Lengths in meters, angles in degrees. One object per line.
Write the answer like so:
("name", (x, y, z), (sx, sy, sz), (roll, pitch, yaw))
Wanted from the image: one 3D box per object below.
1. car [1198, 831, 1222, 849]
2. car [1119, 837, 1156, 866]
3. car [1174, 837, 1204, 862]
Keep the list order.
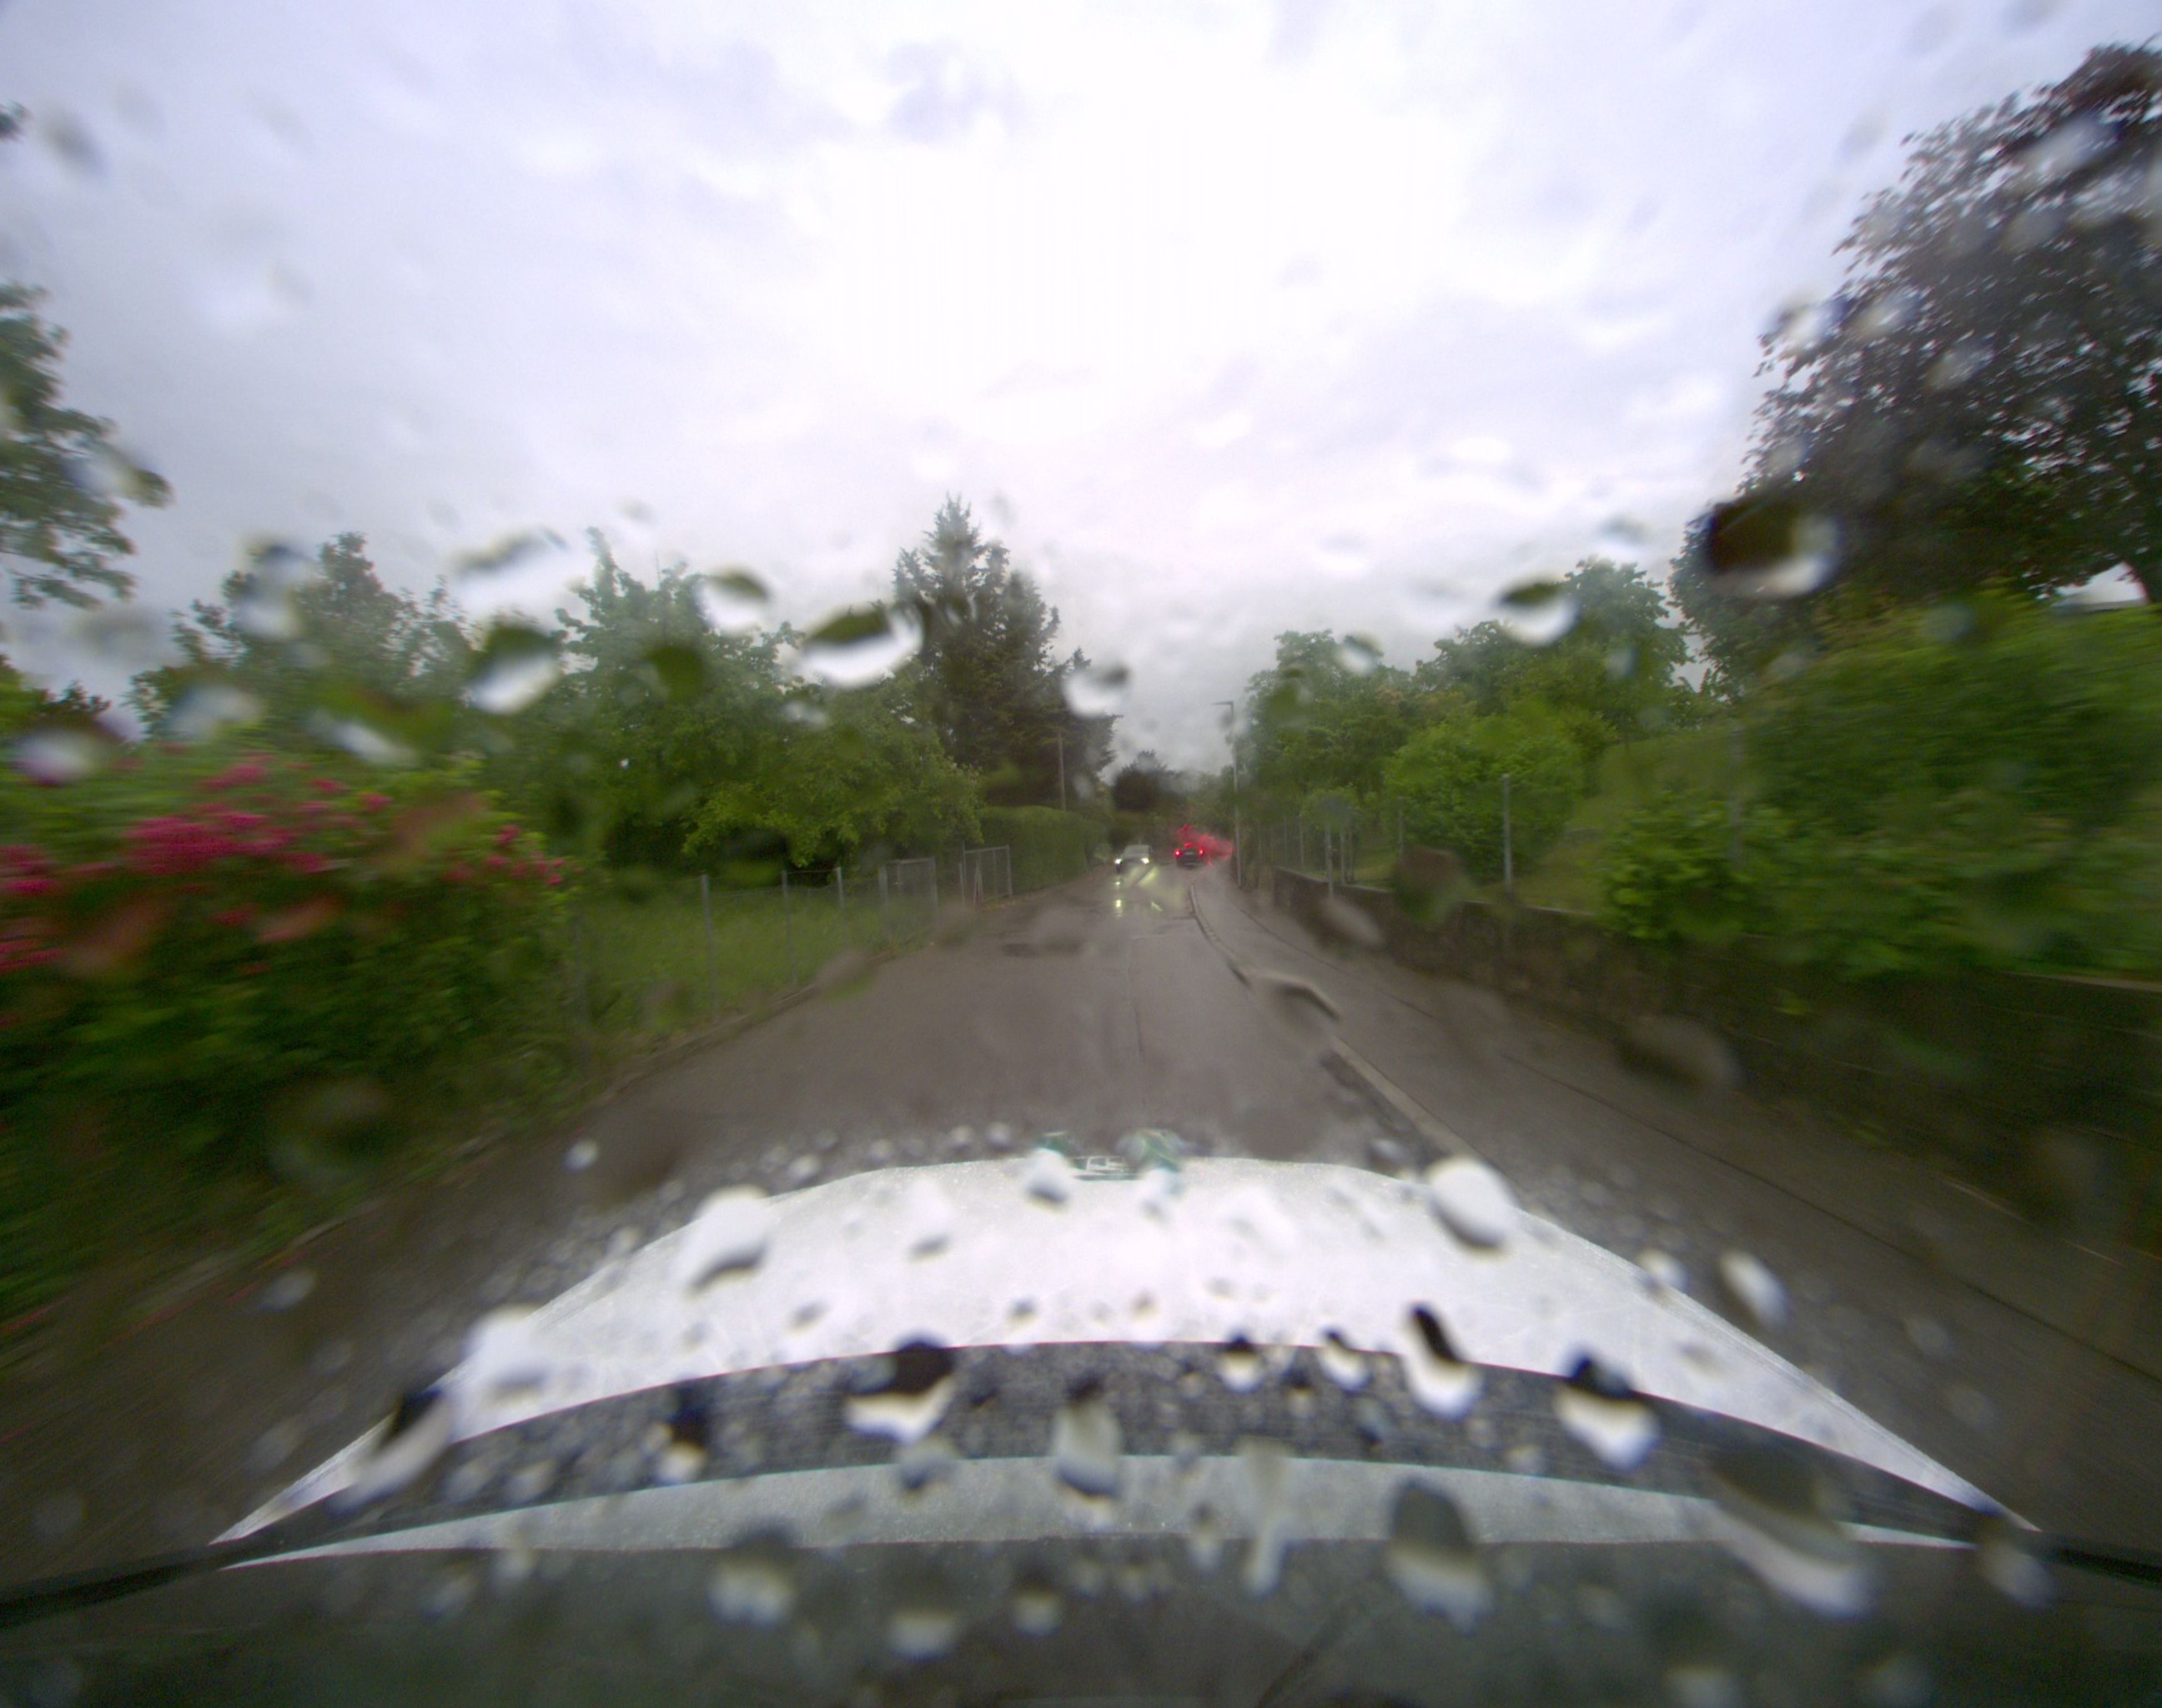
("car", (10.713, -1.195, 67.609), (1.623, 1.414, 3.558), (-1, 1, 14))
("car", (3.303, -0.195, 46.625), (1.878, 1.523, 4.431), (-1, 2, 7))
("car", (6.803, -0.302, 51.108), (1.624, 1.450, 3.556), (-1, 1, 12))
